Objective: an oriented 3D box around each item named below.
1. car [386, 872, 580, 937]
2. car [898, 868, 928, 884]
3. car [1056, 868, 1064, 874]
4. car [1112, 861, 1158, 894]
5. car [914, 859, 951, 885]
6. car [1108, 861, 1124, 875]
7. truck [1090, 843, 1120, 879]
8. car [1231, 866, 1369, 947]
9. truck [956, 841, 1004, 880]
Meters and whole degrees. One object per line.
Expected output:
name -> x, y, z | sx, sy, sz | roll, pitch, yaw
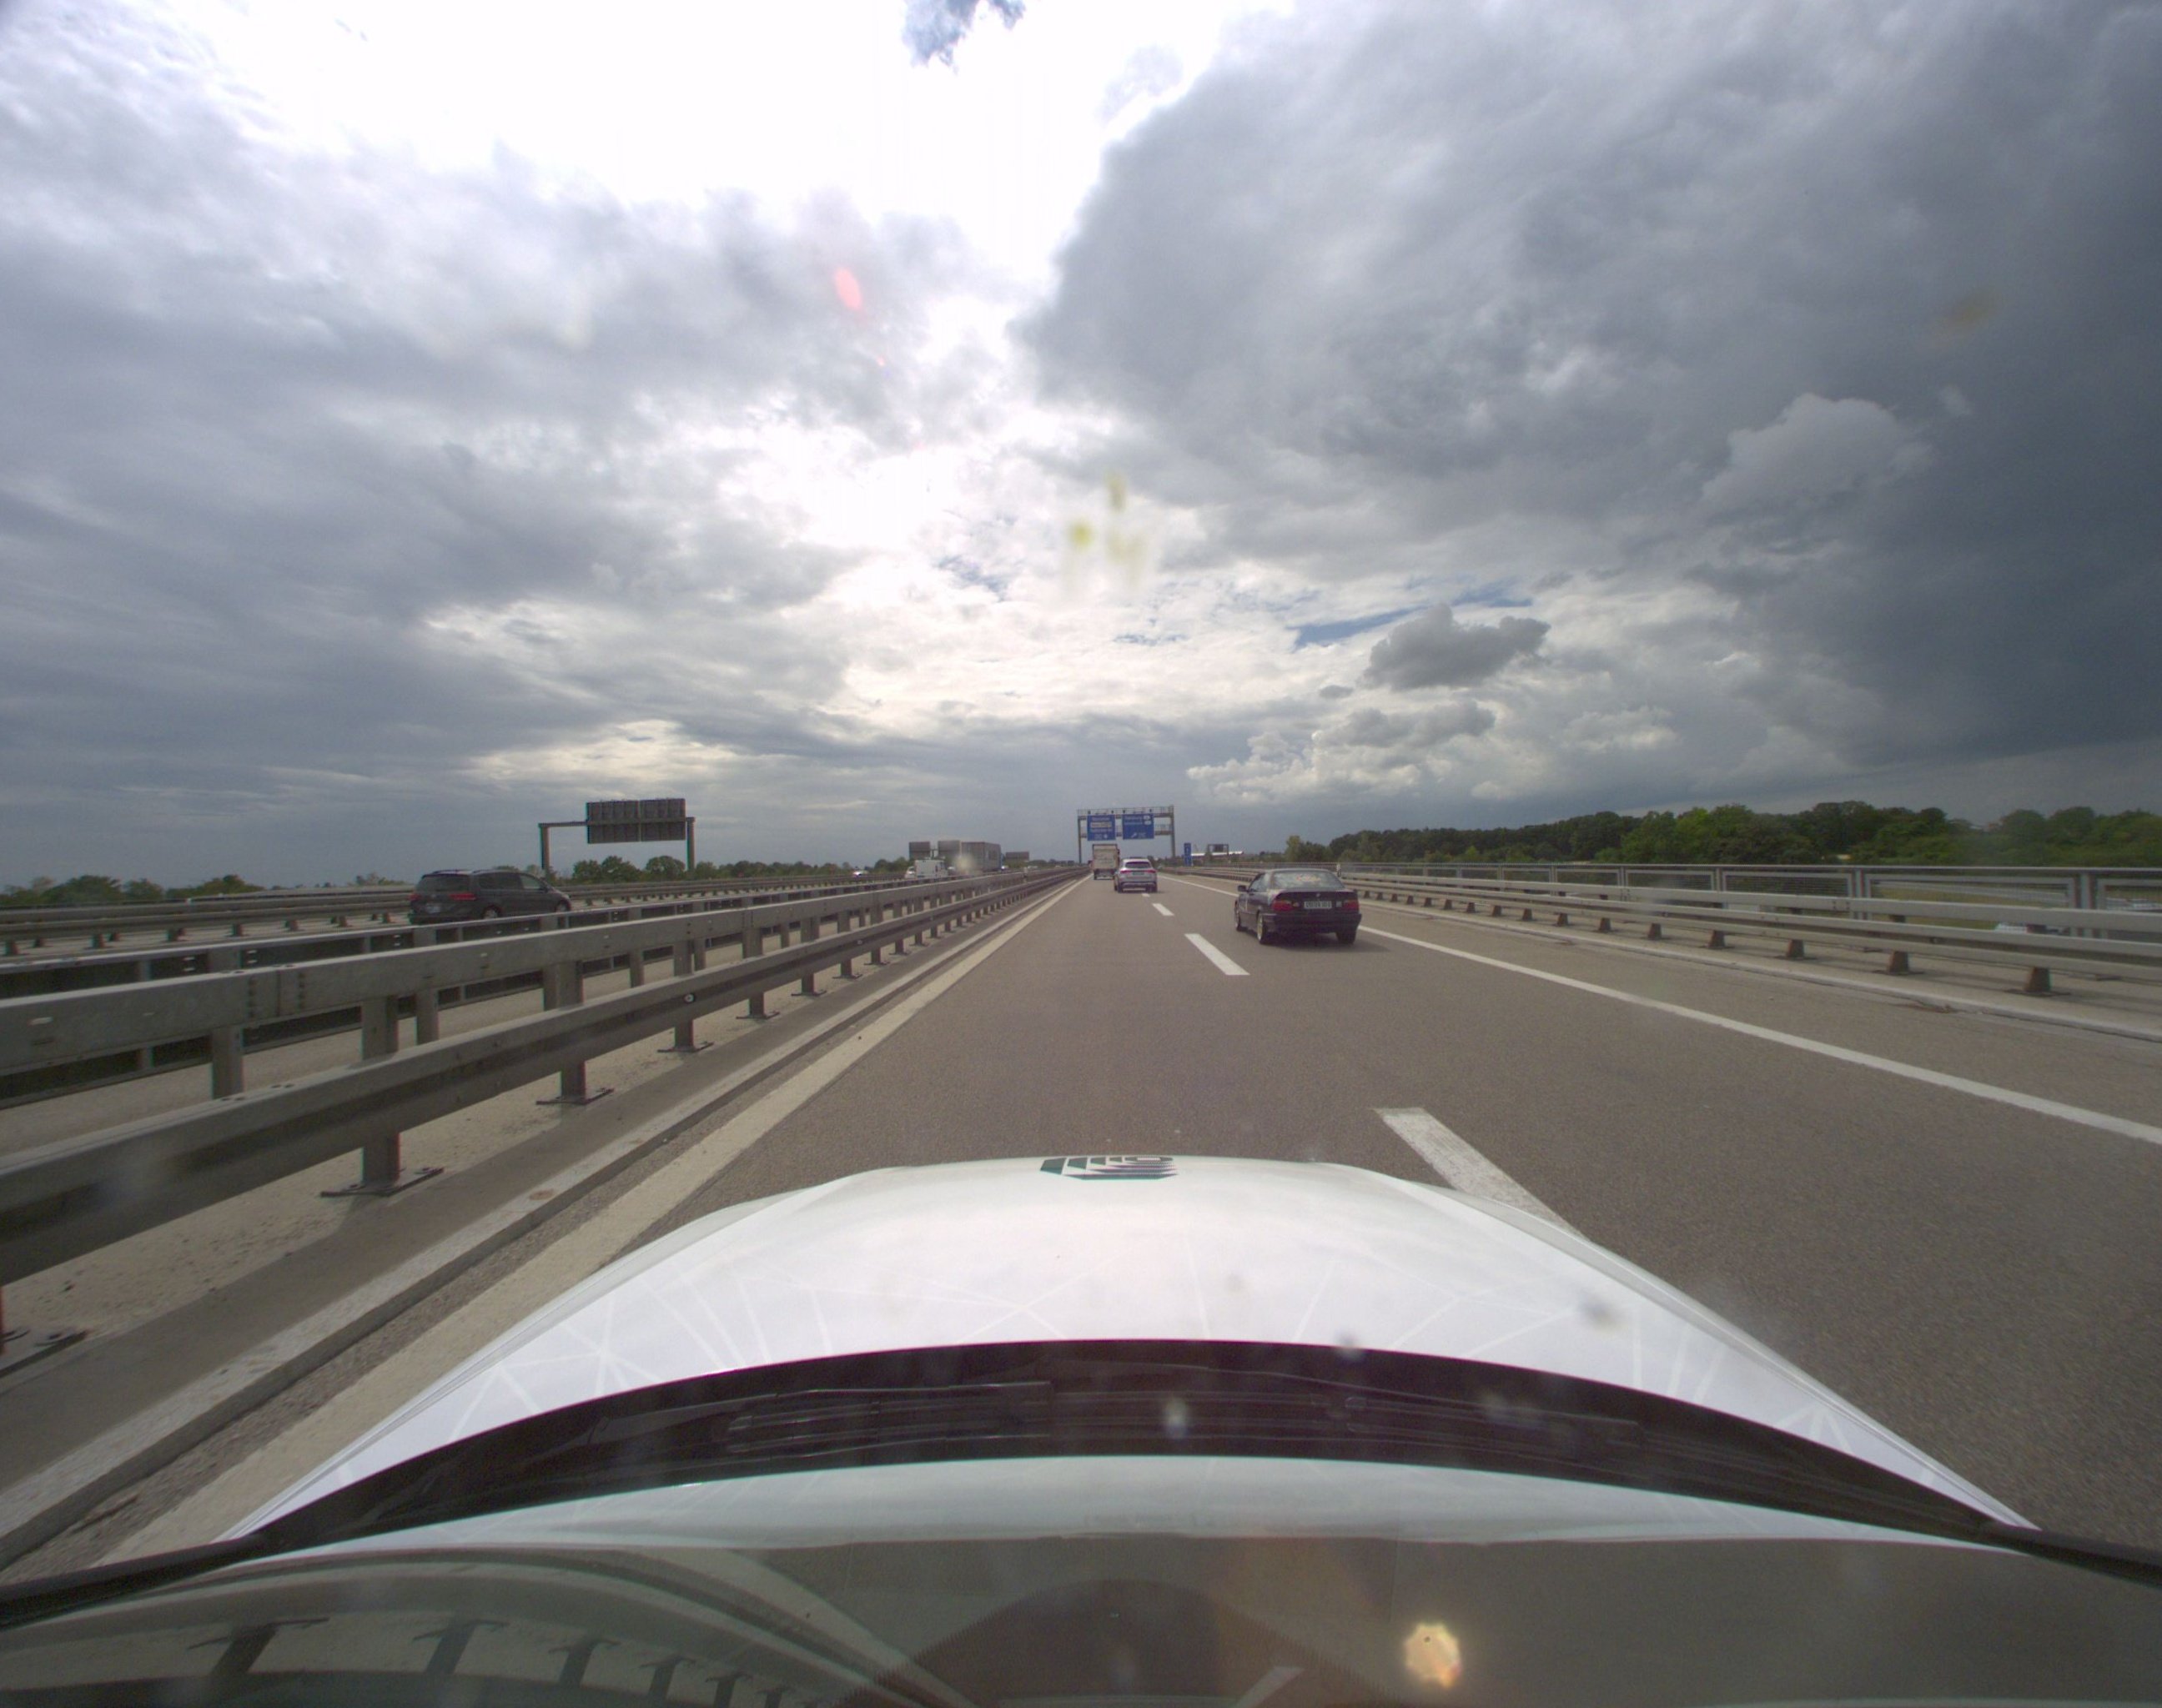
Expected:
car -> -16.342, 1.306, 22.623 | 1.874, 1.546, 4.616 | 0, 0, 1
car -> -15.923, 2.035, 77.346 | 1.790, 1.420, 4.003 | 0, 0, 3
car -> -5.793, 4.679, 224.253 | 1.820, 1.563, 4.003 | -1, 0, 3
car -> 2.608, 1.097, 40.141 | 1.815, 1.514, 3.996 | 0, 0, -3
car -> -11.747, 1.410, 64.575 | 1.986, 2.014, 4.376 | 0, 0, 2
car -> 4.168, 1.657, 97.846 | 1.878, 1.552, 4.001 | 0, 0, 2
truck -> 2.242, 0.736, 75.012 | 2.559, 3.126, 8.636 | 0, -2, 2
car -> 4.022, 0.904, 15.627 | 1.697, 1.281, 4.369 | 0, 0, 3
truck -> -11.260, 0.737, 92.507 | 3.172, 4.019, 16.075 | 0, 0, 1
